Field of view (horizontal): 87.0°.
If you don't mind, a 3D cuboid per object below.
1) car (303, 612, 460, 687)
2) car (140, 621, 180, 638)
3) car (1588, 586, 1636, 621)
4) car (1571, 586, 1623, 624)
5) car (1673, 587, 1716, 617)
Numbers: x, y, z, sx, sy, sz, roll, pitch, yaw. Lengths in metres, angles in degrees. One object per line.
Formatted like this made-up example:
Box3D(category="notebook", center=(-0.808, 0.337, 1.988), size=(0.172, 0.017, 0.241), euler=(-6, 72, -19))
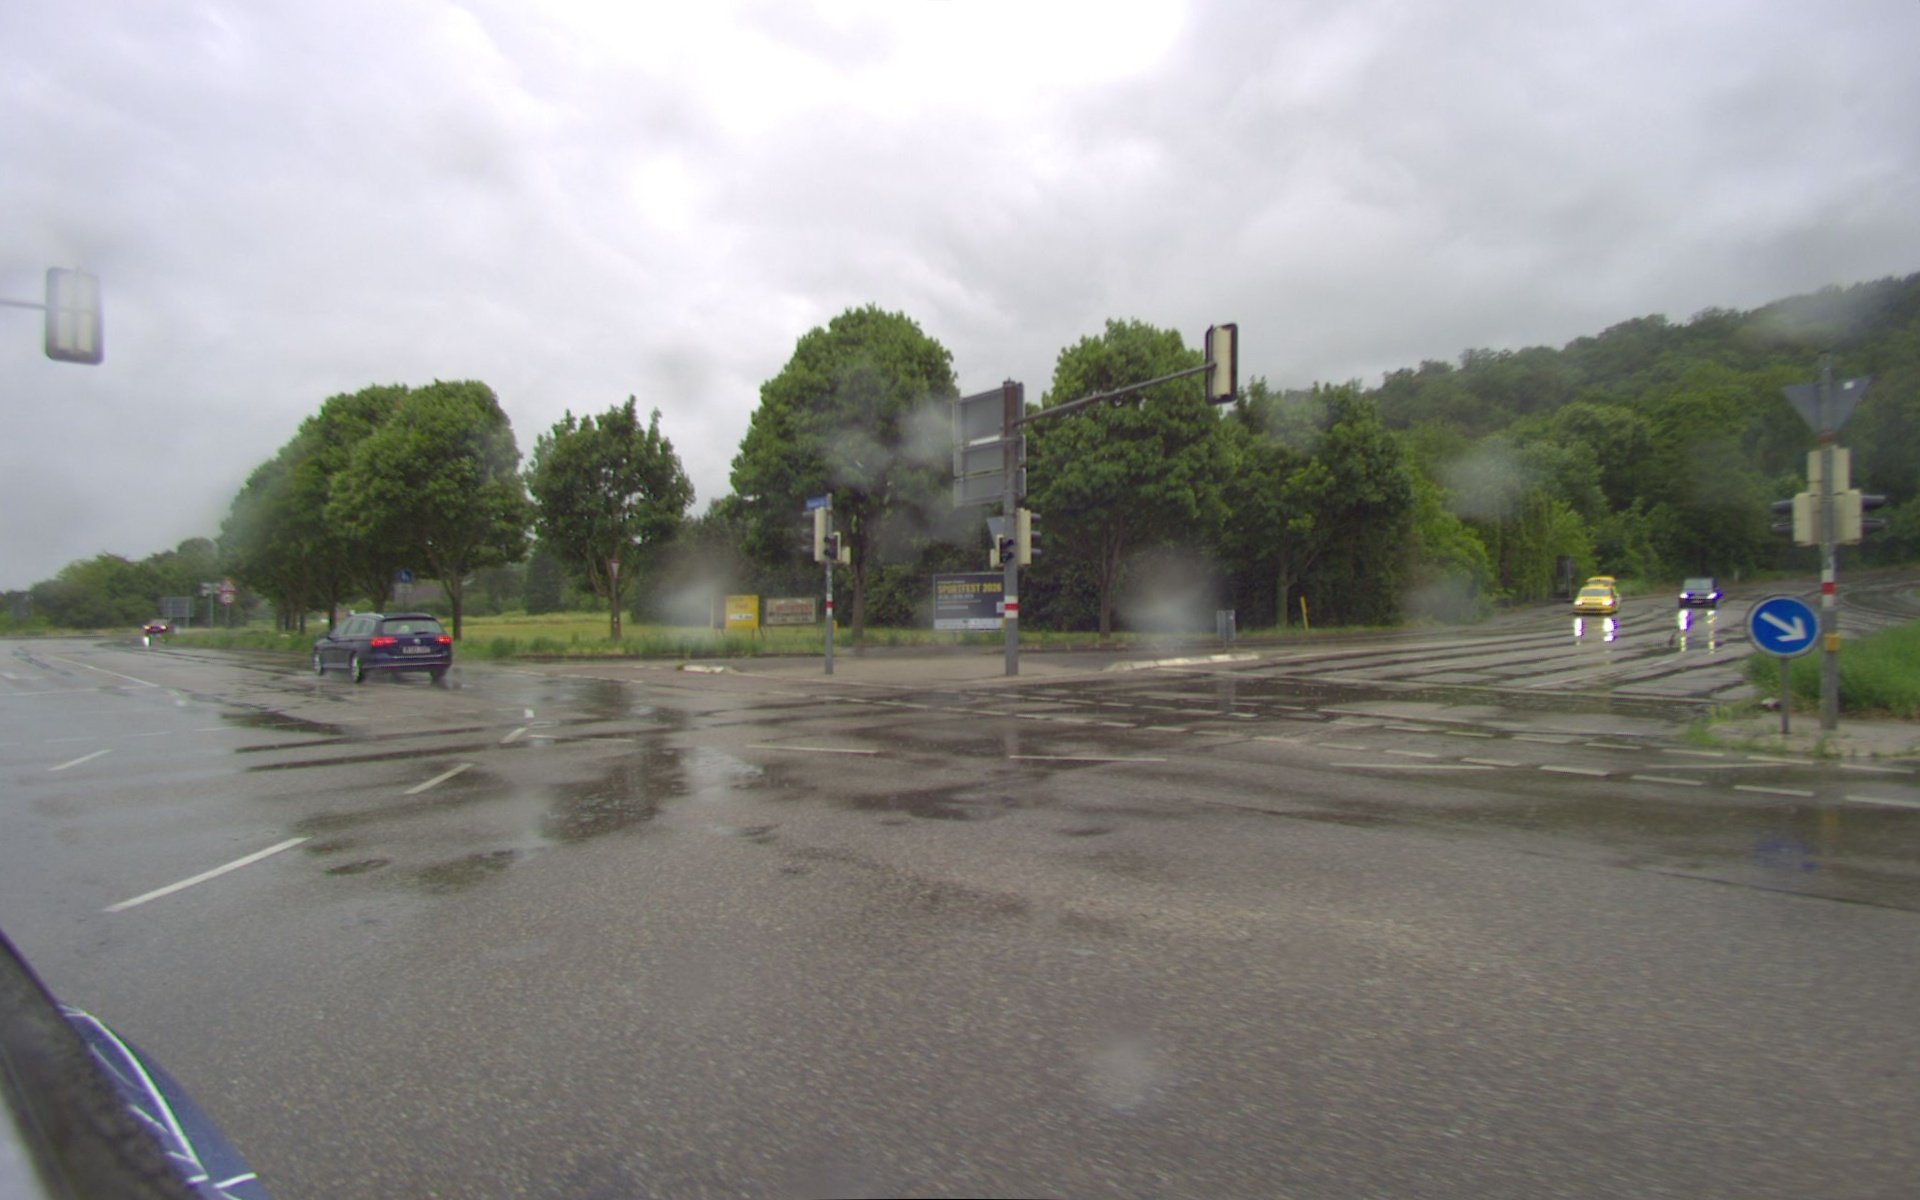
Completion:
Box3D(category="car", center=(-12.904, 1.035, 22.456), size=(4.451, 1.477, 1.690), euler=(-1, 0, 42))
Box3D(category="car", center=(-88.214, 3.211, 111.615), size=(1.886, 1.701, 4.113), euler=(-1, 0, -13))
Box3D(category="car", center=(38.483, 0.198, 59.728), size=(1.813, 2.029, 3.632), euler=(-1, -1, 42))
Box3D(category="car", center=(35.681, 0.255, 56.657), size=(1.813, 2.042, 3.632), euler=(-1, 0, 42))
Box3D(category="car", center=(47.131, 0.131, 64.908), size=(1.832, 1.829, 3.944), euler=(-2, -1, 42))
